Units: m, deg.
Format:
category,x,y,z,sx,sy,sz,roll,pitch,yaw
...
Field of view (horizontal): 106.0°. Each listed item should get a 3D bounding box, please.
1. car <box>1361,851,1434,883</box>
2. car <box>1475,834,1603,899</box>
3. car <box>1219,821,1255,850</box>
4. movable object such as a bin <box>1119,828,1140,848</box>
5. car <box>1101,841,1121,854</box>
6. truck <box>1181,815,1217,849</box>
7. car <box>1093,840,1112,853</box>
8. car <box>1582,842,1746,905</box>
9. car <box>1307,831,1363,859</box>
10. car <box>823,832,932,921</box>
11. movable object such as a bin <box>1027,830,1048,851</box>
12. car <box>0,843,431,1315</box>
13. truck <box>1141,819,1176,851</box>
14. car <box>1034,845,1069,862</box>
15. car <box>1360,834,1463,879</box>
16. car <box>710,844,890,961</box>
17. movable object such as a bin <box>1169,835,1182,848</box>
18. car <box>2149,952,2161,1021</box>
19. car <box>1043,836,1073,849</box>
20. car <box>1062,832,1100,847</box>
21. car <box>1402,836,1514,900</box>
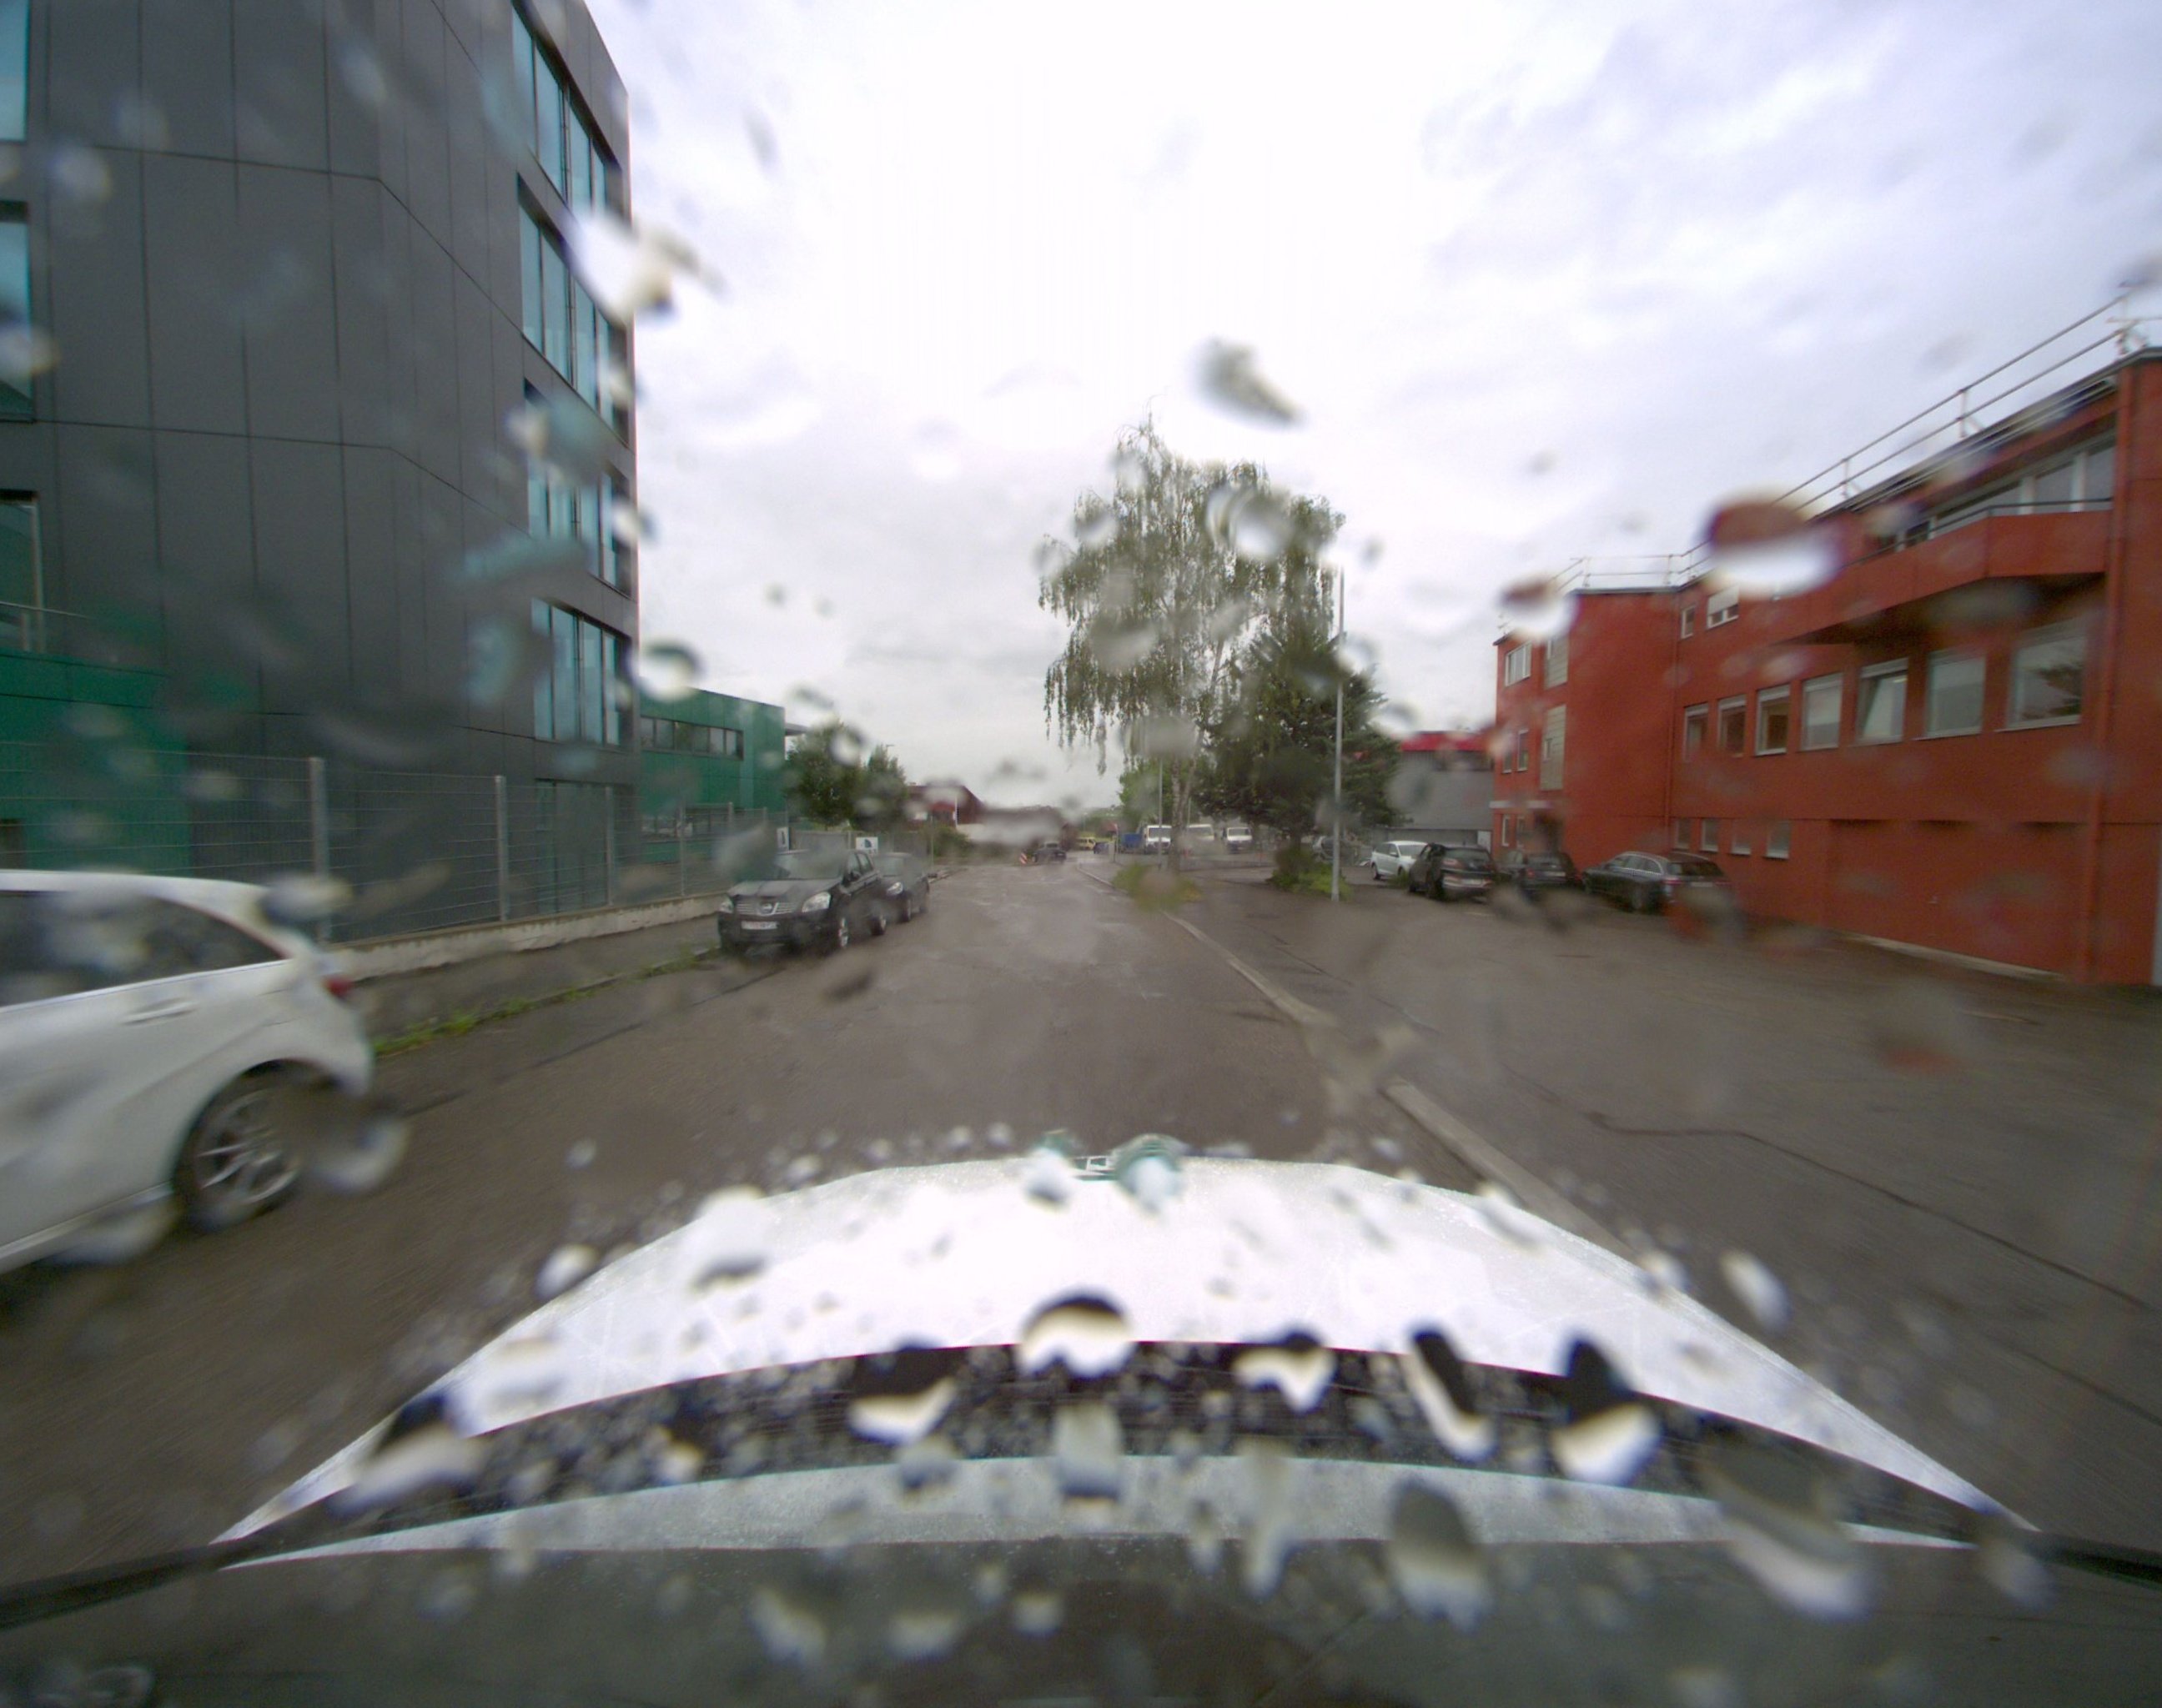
category,x,y,z,sx,sy,sz,roll,pitch,yaw
car,15.525,0.616,40.085,3.019,1.495,1.633,-1,1,6
car,12.891,0.276,23.273,1.976,1.678,4.528,0,1,13
car,11.414,-1.348,59.864,2.046,2.013,4.946,0,1,5
movable object such as a bin,3.707,-1.194,62.378,1.305,1.500,1.854,-1,1,-8
car,3.923,-0.904,106.047,1.949,1.610,4.437,-1,1,-7
truck,8.482,-1.597,59.087,2.233,2.341,4.842,-1,1,4
car,2.955,-1.029,112.183,2.071,1.834,4.462,-1,1,-5
car,15.545,0.440,22.057,1.956,1.449,4.527,2,1,12
car,13.995,-0.483,44.984,2.696,1.446,1.682,-1,1,9
car,-4.528,0.425,18.631,1.736,1.797,3.953,-1,1,-4
movable object such as a bin,-5.336,-1.702,100.305,1.721,2.556,3.352,0,1,13
car,-4.393,0.744,2.269,1.729,1.536,4.250,0,1,0
truck,5.630,-1.335,59.624,2.098,2.214,5.654,-1,1,1
car,-2.810,-0.073,77.155,1.765,1.534,3.965,-1,1,-27
car,11.787,0.029,29.377,1.898,1.470,4.327,-1,1,-1
car,-4.355,0.645,13.298,1.628,1.558,4.081,-1,1,-2
movable object such as a bin,7.498,-0.997,64.568,1.044,1.042,0.886,0,1,8
car,9.688,0.777,5.052,3.416,1.498,1.623,9,3,9
car,-3.473,-1.798,123.634,4.354,1.905,2.012,0,1,41
car,0.028,-2.497,141.480,5.960,2.415,2.475,0,1,19
car,10.556,0.314,23.162,1.982,1.579,4.528,2,1,13
